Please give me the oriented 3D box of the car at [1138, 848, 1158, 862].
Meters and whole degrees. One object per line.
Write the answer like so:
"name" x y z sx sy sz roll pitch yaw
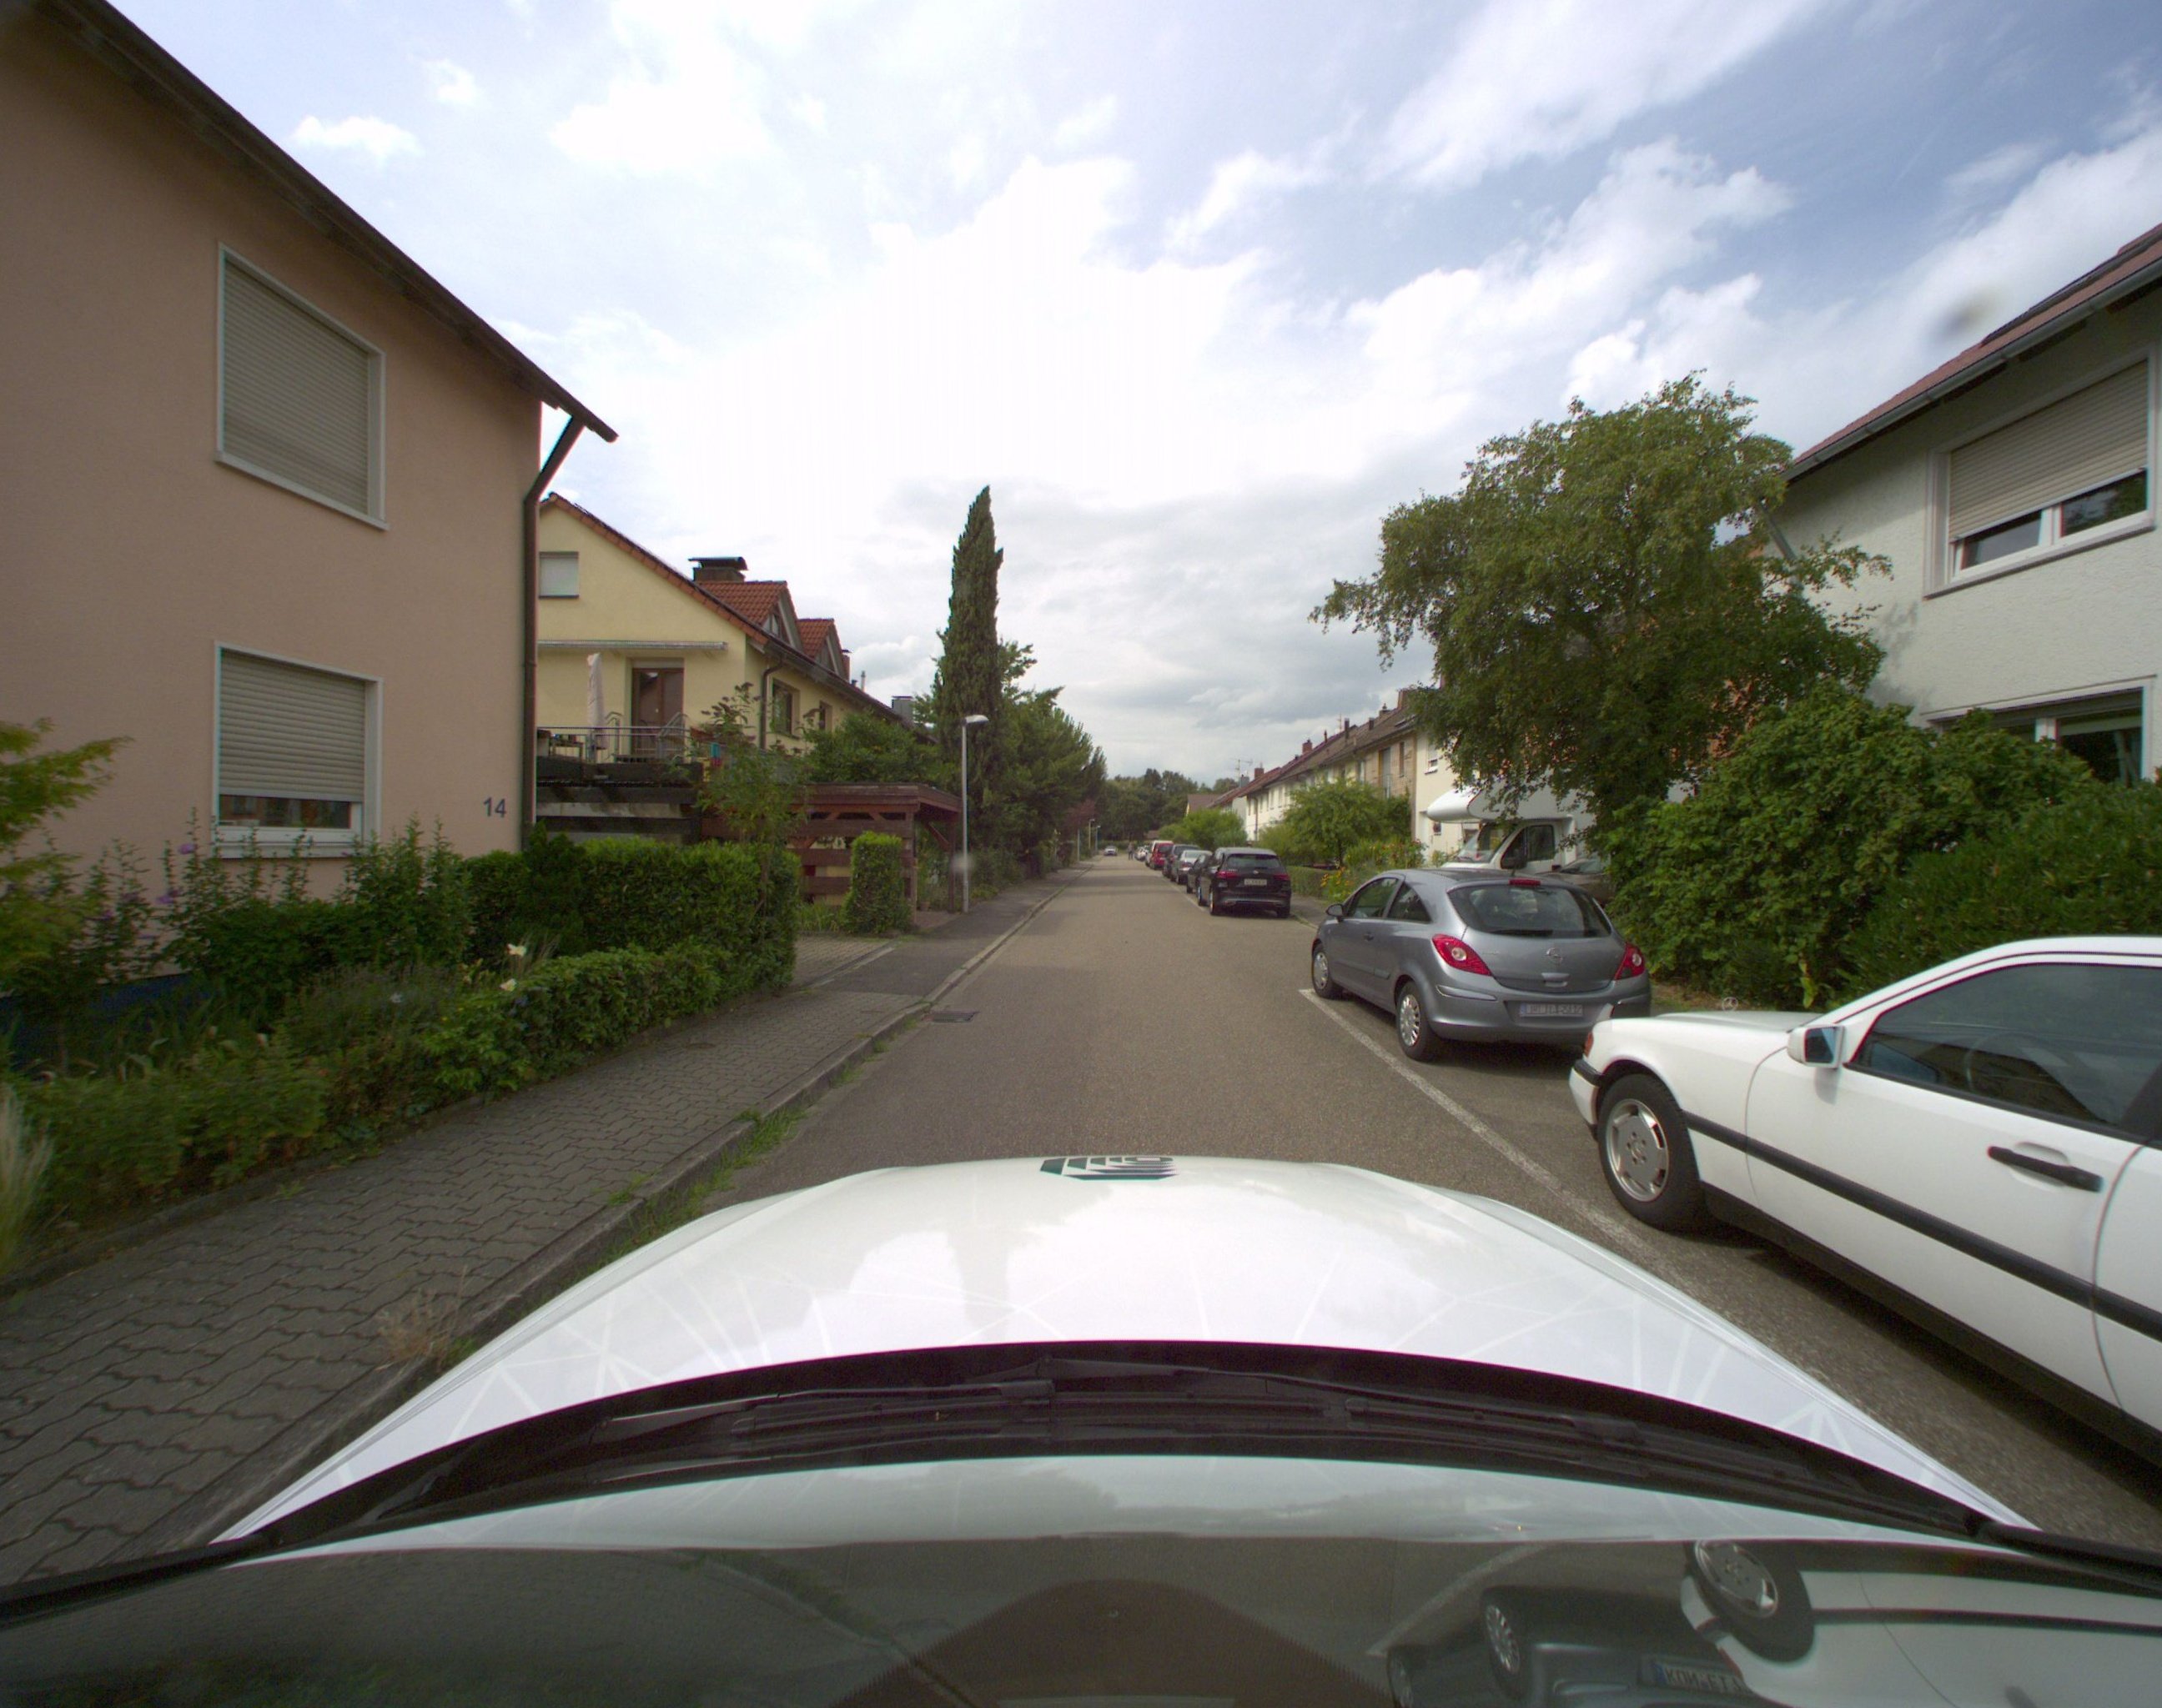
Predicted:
"car" 7.090 0.042 86.382 1.832 1.413 4.636 0 1 0

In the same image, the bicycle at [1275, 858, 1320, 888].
"bicycle" 7.678 0.672 28.891 1.530 1.023 0.377 0 0 7

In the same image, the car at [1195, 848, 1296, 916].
"car" 3.905 0.588 20.069 1.742 1.467 4.651 0 1 2

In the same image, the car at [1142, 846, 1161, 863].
"car" 6.797 0.042 78.748 1.706 1.543 3.977 0 1 3

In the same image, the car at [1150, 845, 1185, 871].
"car" 5.684 0.228 54.185 1.805 1.651 4.409 0 1 -1

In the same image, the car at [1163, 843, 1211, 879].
"car" 5.135 0.282 40.015 1.861 1.653 4.465 0 1 1

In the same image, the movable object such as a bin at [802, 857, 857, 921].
"movable object such as a bin" -4.632 0.626 15.048 0.701 1.130 0.878 -1 0 2

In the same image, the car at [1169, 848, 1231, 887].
"car" 4.809 0.509 33.579 1.861 1.407 4.768 2 1 0

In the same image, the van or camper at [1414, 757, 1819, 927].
"van or camper" 9.513 -0.202 15.069 5.768 2.818 2.542 0 0 6

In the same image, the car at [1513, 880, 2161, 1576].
"car" 3.162 0.856 2.157 1.687 1.364 4.701 0 1 2

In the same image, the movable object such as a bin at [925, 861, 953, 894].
"movable object such as a bin" -4.282 0.710 24.590 0.709 0.956 0.751 0 0 2

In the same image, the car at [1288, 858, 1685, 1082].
"car" 3.343 0.814 7.752 1.697 1.442 4.221 2 1 1

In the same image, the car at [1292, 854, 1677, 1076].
"car" 3.333 0.769 7.746 1.735 1.470 4.220 0 1 2

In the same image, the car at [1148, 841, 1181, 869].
"car" 6.003 0.072 59.179 2.013 1.947 4.748 0 1 1

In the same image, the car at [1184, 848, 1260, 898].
"car" 4.345 0.546 25.719 1.727 1.428 4.126 0 1 0

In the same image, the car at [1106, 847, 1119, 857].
"car" 4.851 -0.290 123.779 1.926 1.556 4.639 0 1 3

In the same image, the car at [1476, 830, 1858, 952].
"car" 8.880 0.517 12.709 4.509 1.708 1.902 1 0 5

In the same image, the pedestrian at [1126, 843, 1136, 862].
"pedestrian" 5.338 -0.152 87.347 0.911 2.013 0.948 0 0 -7
